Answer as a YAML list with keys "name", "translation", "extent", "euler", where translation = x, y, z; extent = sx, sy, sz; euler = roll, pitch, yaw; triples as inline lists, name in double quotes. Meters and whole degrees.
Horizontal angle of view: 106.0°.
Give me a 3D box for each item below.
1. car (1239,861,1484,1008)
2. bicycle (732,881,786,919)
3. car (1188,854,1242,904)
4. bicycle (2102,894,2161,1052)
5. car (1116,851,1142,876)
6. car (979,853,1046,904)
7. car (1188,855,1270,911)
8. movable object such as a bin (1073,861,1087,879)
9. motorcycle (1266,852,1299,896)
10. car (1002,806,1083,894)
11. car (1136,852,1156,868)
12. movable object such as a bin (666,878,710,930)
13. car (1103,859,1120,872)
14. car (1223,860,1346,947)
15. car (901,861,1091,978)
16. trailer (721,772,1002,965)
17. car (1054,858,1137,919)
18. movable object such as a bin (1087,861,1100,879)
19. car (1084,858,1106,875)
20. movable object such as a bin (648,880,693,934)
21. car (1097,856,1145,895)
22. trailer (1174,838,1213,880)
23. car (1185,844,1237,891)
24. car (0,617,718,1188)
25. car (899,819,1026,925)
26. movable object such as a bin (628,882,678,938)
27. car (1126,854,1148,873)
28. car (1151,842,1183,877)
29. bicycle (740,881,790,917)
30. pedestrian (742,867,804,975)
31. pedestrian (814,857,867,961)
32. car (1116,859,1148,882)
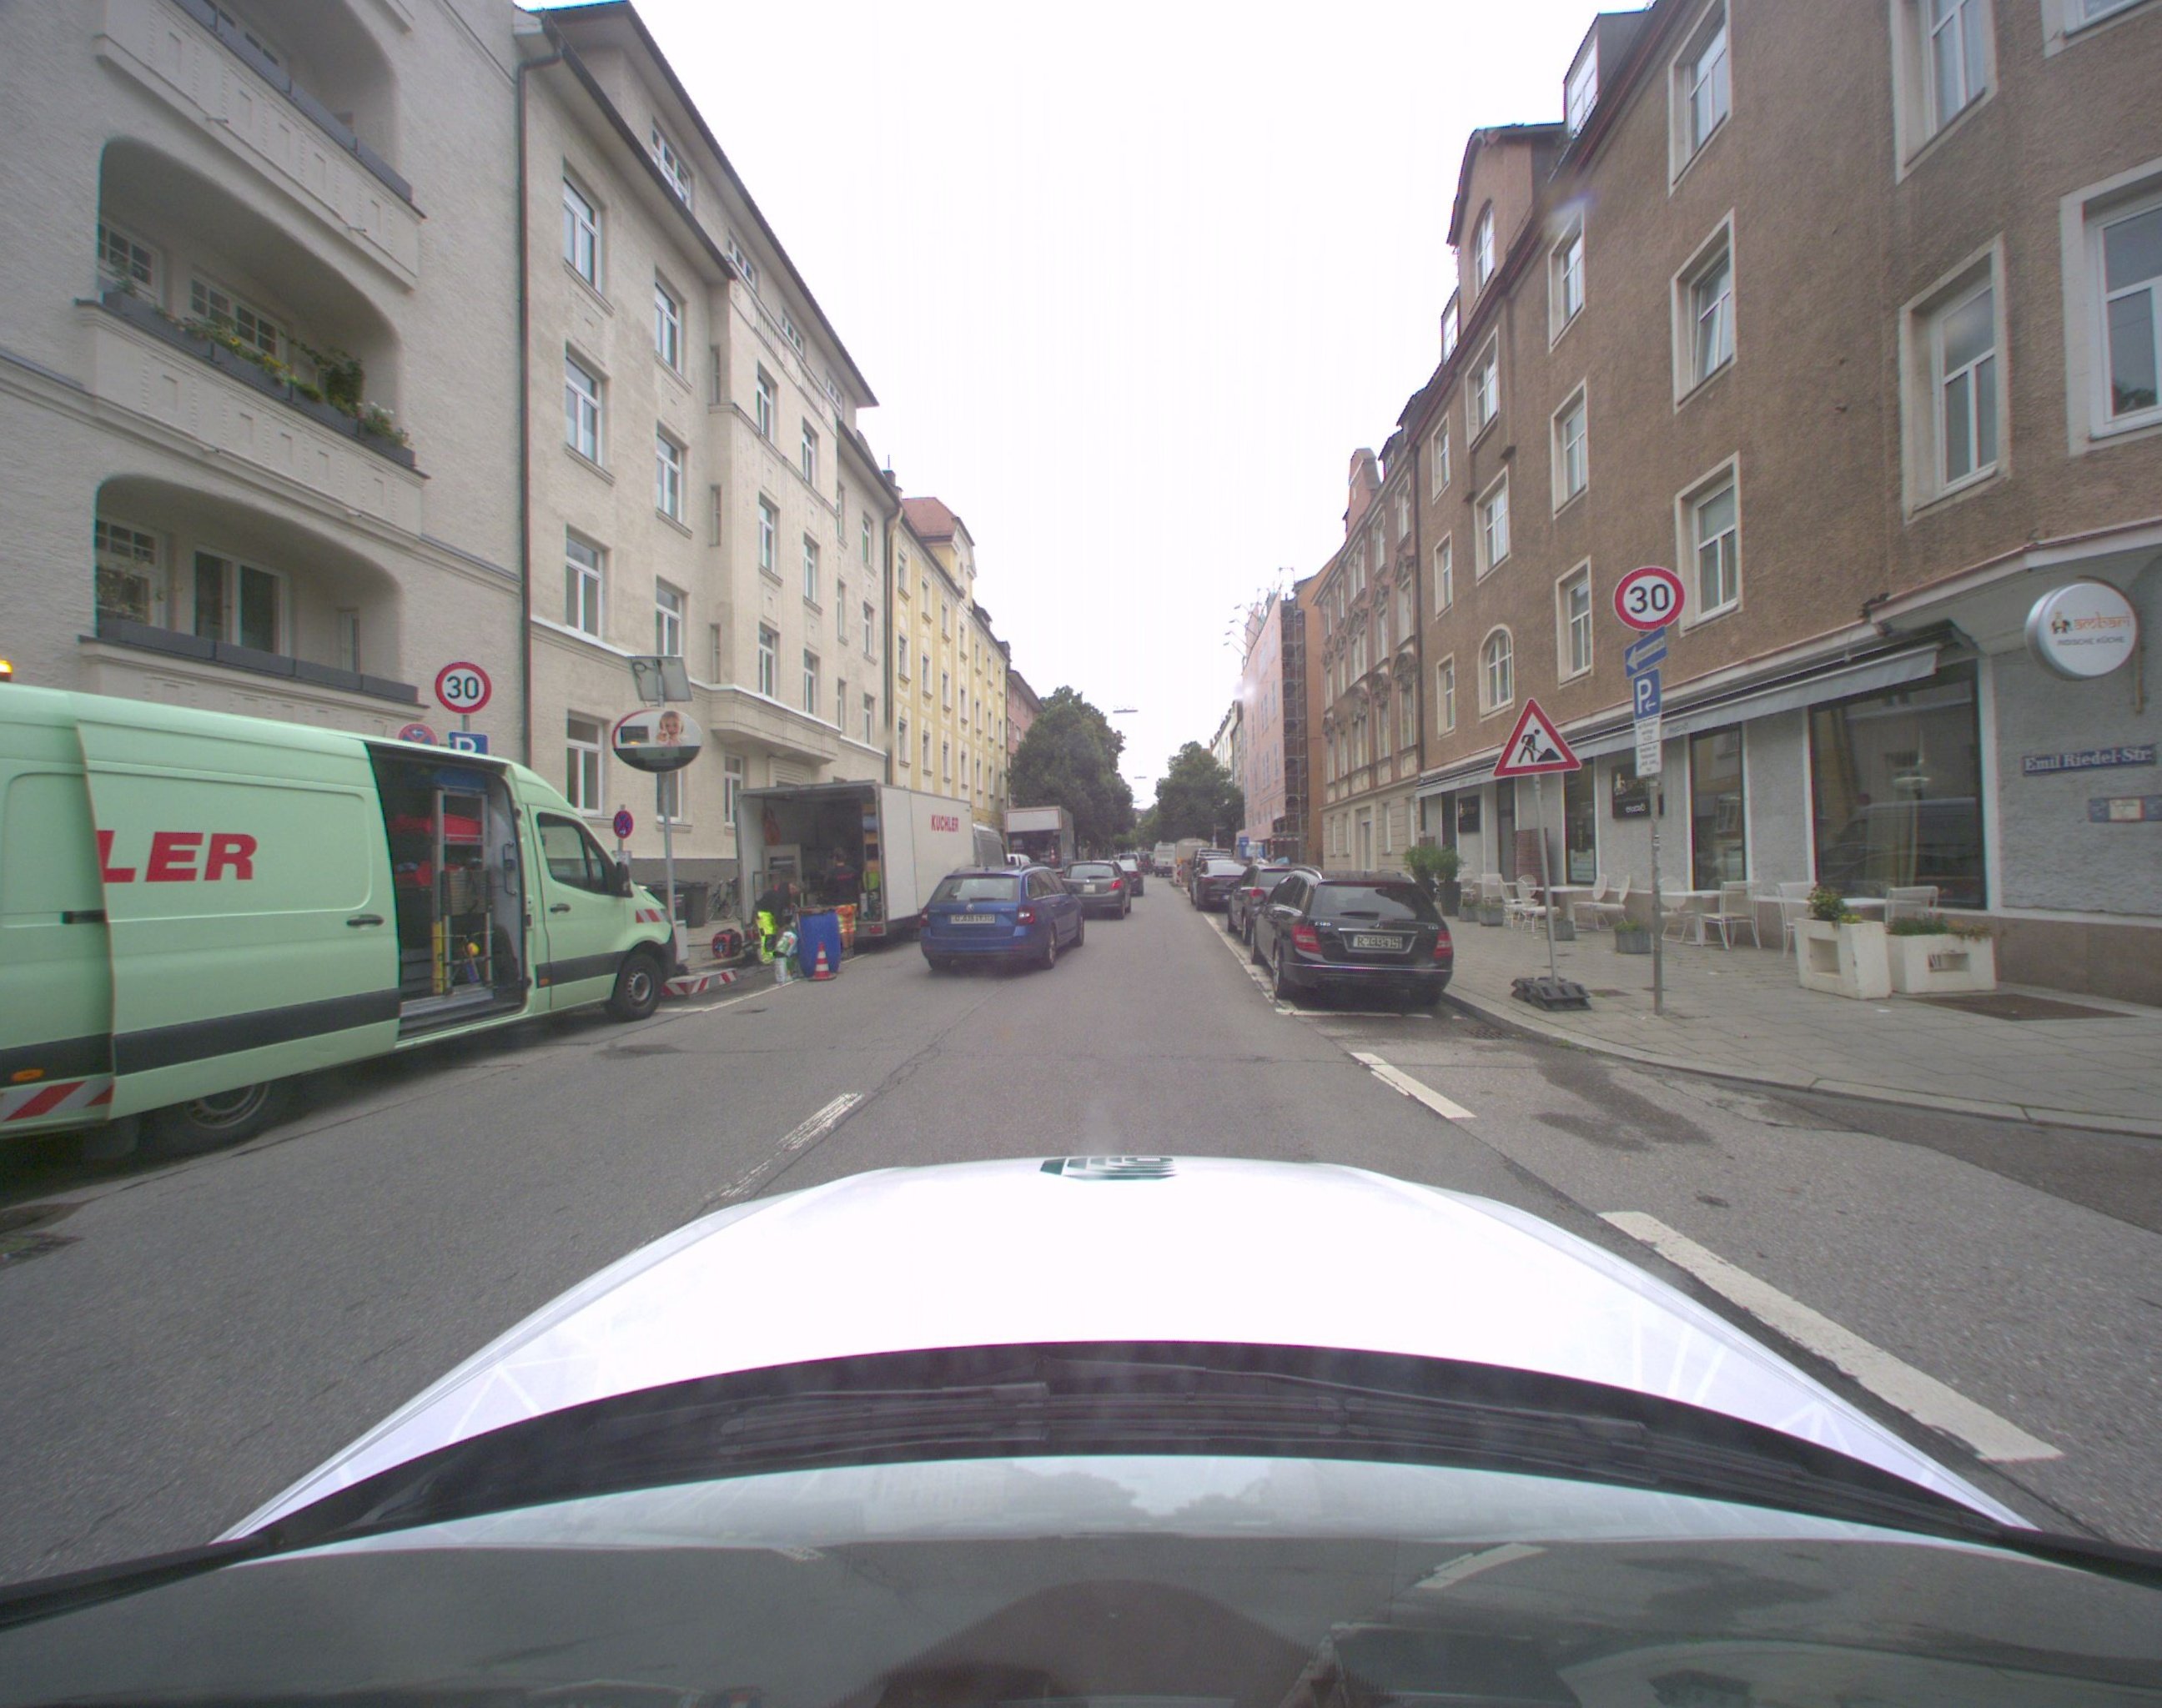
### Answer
- name: "car"
  translation: [3.178, 0.808, 10.300]
  extent: [1.838, 1.405, 4.795]
  euler: [-1, 0, 5]
- name: "bicycle"
  translation: [-8.535, 1.206, 21.652]
  extent: [0.392, 0.914, 1.595]
  euler: [2, -1, 17]
- name: "car"
  translation: [4.969, 0.893, 30.636]
  extent: [1.685, 1.676, 4.415]
  euler: [2, -1, 6]
- name: "bicycle"
  translation: [7.281, 0.801, 4.769]
  extent: [0.493, 1.005, 1.807]
  euler: [-3, 0, 8]
- name: "car"
  translation: [3.752, 0.722, 63.538]
  extent: [1.858, 1.870, 4.353]
  euler: [0, 0, 5]
- name: "car"
  translation: [-2.612, 0.912, 31.966]
  extent: [1.754, 1.779, 4.334]
  euler: [-3, -1, 6]
- name: "car"
  translation: [4.448, 0.811, 25.267]
  extent: [1.922, 1.553, 5.643]
  euler: [0, 0, 4]
- name: "movable object such as a bin"
  translation: [-0.066, 1.253, 65.151]
  extent: [1.078, 1.376, 1.084]
  euler: [-3, 0, 1]
- name: "motorcycle"
  translation: [7.116, 0.681, 28.873]
  extent: [0.867, 1.505, 2.001]
  euler: [-1, -1, 7]
- name: "car"
  translation: [-1.679, -0.130, 40.288]
  extent: [2.799, 3.818, 8.734]
  euler: [-1, -1, 5]
- name: "car"
  translation: [6.993, 0.628, 87.127]
  extent: [1.998, 1.653, 4.354]
  euler: [0, 0, 5]
- name: "movable object such as a bin"
  translation: [-8.895, 1.130, 18.435]
  extent: [0.668, 1.129, 0.556]
  euler: [-2, -1, 8]
- name: "car"
  translation: [3.611, 1.305, 95.680]
  extent: [1.803, 1.478, 4.006]
  euler: [0, 0, 5]
- name: "car"
  translation: [3.714, 0.848, 15.497]
  extent: [1.565, 1.394, 4.187]
  euler: [-1, -1, 4]
- name: "car"
  translation: [-1.065, 0.851, 12.467]
  extent: [1.778, 1.460, 4.325]
  euler: [-1, -1, 9]
- name: "trailer"
  translation: [-3.977, 0.221, 17.091]
  extent: [2.788, 2.969, 7.615]
  euler: [-4, 0, 7]
- name: "car"
  translation: [0.457, 0.847, 21.193]
  extent: [1.732, 1.422, 3.671]
  euler: [-1, -1, 7]
- name: "movable object such as a bin"
  translation: [1.018, 1.290, 66.257]
  extent: [1.016, 1.376, 1.104]
  euler: [-3, 0, 1]
- name: "car"
  translation: [1.291, 1.118, 72.987]
  extent: [1.804, 1.478, 4.003]
  euler: [0, 0, 3]
- name: "movable object such as a bin"
  translation: [-9.005, 1.151, 17.870]
  extent: [0.645, 1.129, 0.556]
  euler: [-2, -1, 8]
- name: "car"
  translation: [1.701, 0.848, 33.516]
  extent: [1.859, 1.454, 4.352]
  euler: [0, 0, 4]
- name: "trailer"
  translation: [8.012, 0.357, 58.715]
  extent: [2.490, 2.840, 6.910]
  euler: [0, -1, 5]
- name: "car"
  translation: [5.752, 0.662, 36.622]
  extent: [2.072, 1.921, 5.148]
  euler: [0, -3, 6]
- name: "car"
  translation: [-5.672, 0.238, 6.241]
  extent: [2.130, 2.572, 6.805]
  euler: [-1, 0, 6]
- name: "car"
  translation: [-3.315, 0.494, 24.570]
  extent: [2.046, 2.587, 6.885]
  euler: [-5, -1, 5]
- name: "movable object such as a bin"
  translation: [-9.078, 1.179, 17.283]
  extent: [0.673, 1.129, 0.640]
  euler: [-2, -1, 8]
- name: "car"
  translation: [5.068, 0.843, 73.538]
  extent: [1.858, 1.653, 4.353]
  euler: [0, 0, 5]
- name: "car"
  translation: [7.022, 0.450, 65.914]
  extent: [2.099, 2.664, 5.516]
  euler: [0, -1, 11]
- name: "bicycle"
  translation: [-8.720, 1.216, 22.538]
  extent: [0.413, 0.914, 1.761]
  euler: [2, -1, 10]
- name: "pedestrian"
  translation: [-4.700, 1.005, 12.462]
  extent: [0.762, 1.580, 0.634]
  euler: [-1, -1, -12]
- name: "pedestrian"
  translation: [-3.906, 0.876, 13.251]
  extent: [0.762, 1.631, 0.634]
  euler: [-1, -1, -14]
- name: "car"
  translation: [3.193, 0.987, 50.763]
  extent: [1.858, 1.348, 4.353]
  euler: [0, 0, 5]
